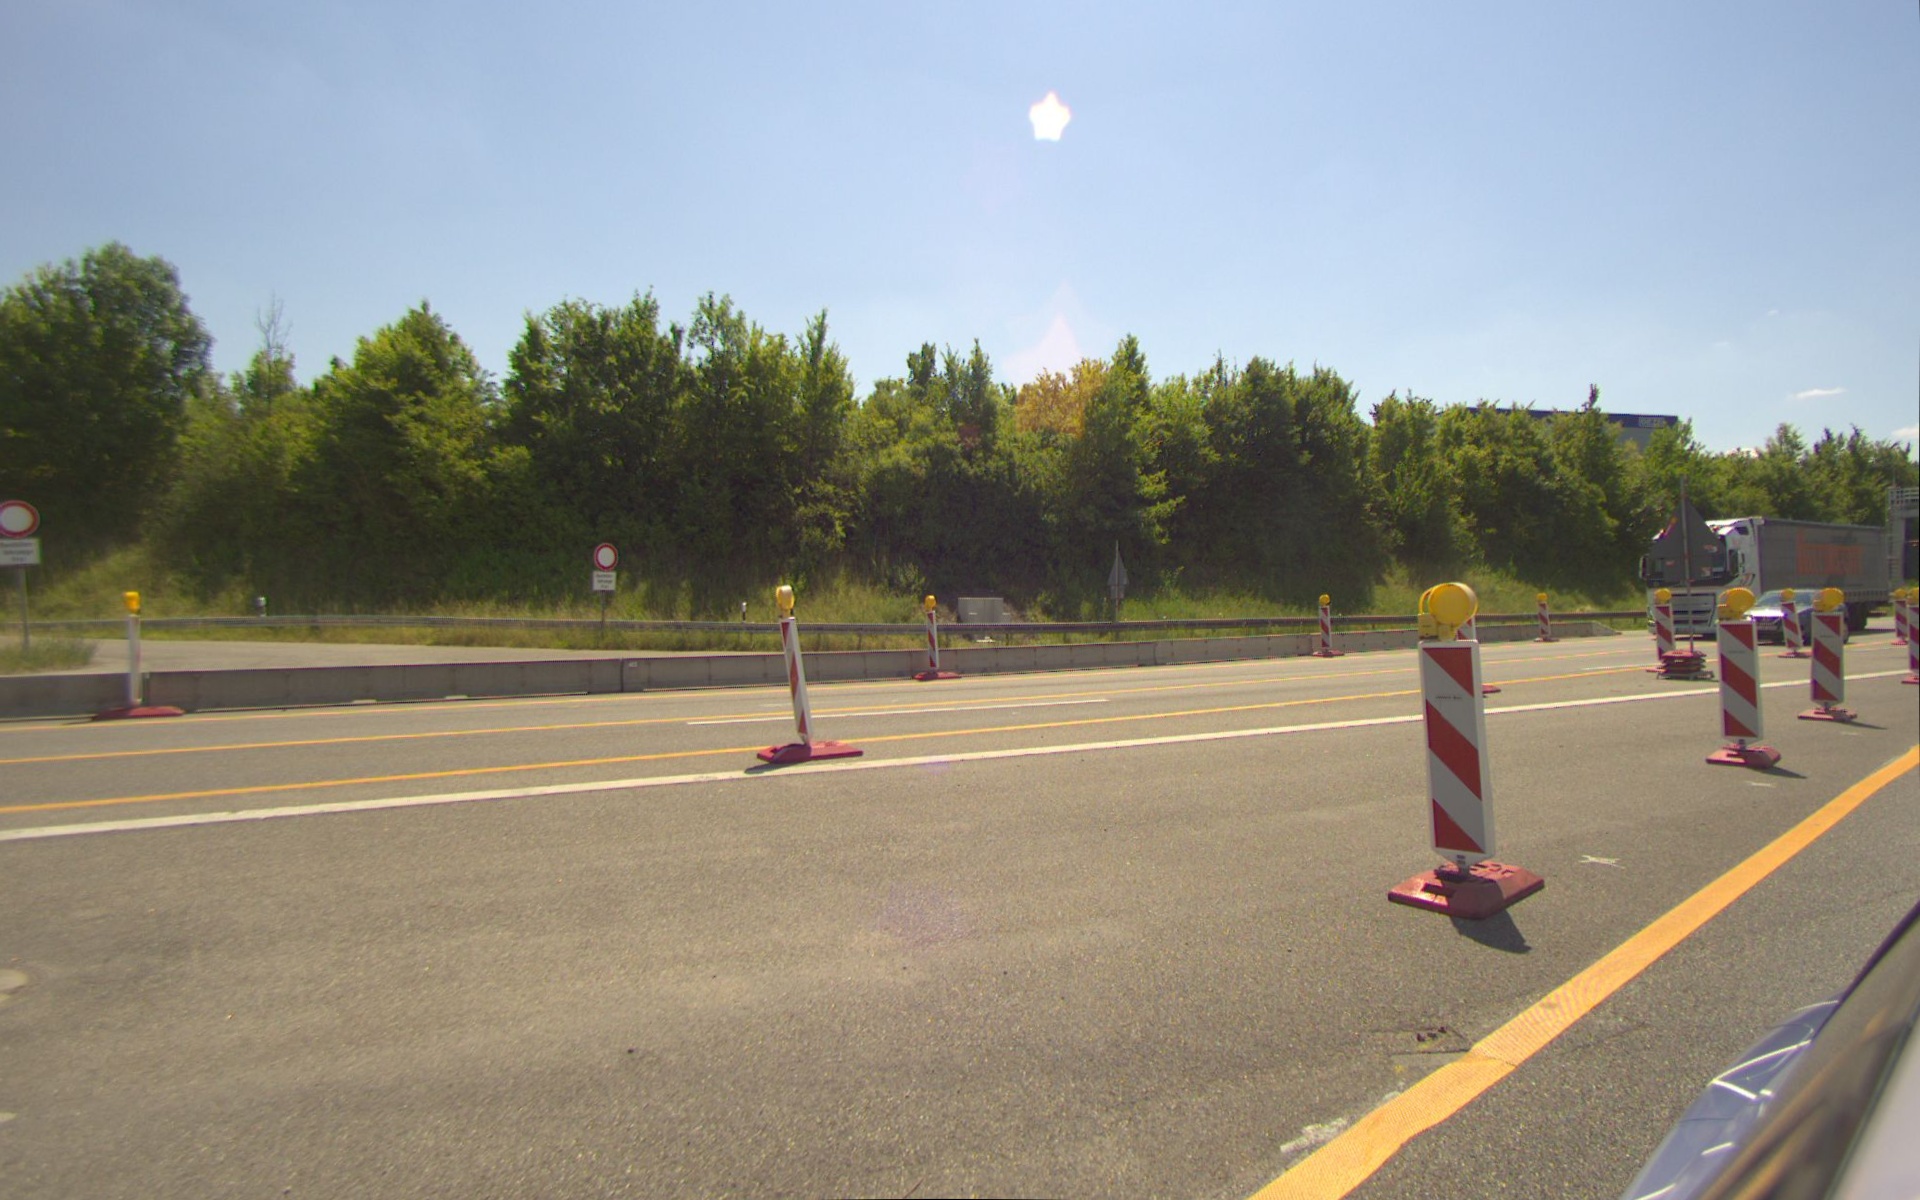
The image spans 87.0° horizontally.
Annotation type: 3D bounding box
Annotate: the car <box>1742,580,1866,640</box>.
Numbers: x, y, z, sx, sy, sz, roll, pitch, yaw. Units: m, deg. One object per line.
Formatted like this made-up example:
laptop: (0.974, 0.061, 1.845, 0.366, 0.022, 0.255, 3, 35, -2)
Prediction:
car: (24.310, 0.245, 29.124, 3.954, 1.572, 1.711, -1, 0, -34)

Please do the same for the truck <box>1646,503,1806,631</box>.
truck: (25.965, -1.049, 34.247, 5.490, 4.001, 2.536, -1, -1, -33)

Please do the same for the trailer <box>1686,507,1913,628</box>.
trailer: (31.865, -1.127, 38.064, 13.599, 4.003, 2.549, -1, -1, -33)
